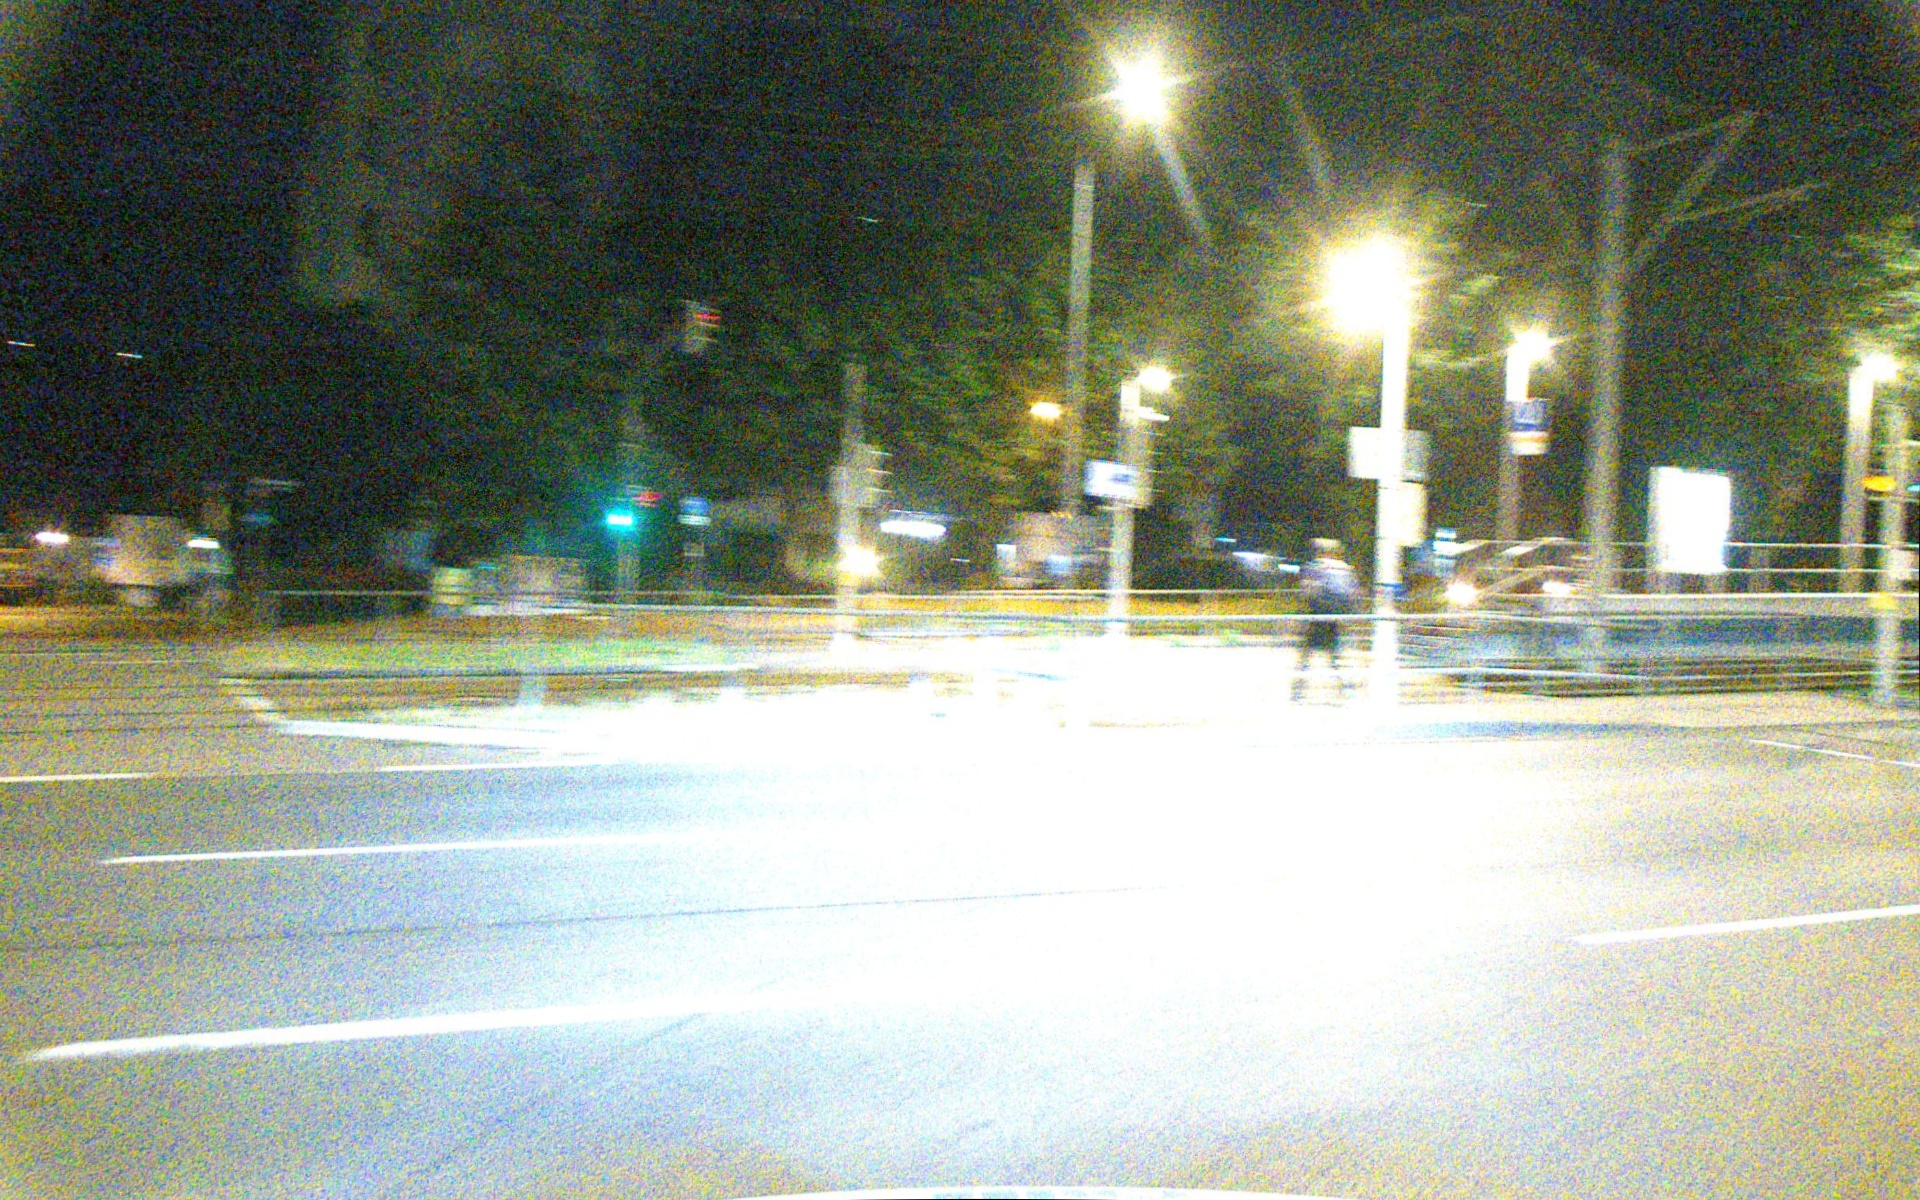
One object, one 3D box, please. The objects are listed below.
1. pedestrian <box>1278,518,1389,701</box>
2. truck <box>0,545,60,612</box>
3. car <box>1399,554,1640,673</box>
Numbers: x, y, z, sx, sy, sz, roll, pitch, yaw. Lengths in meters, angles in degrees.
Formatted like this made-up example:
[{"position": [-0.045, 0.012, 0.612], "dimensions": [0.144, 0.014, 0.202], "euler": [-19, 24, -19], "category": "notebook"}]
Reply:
[{"position": [3.749, 0.070, 16.625], "dimensions": [0.745, 1.774, 0.827], "euler": [-2, 3, -25], "category": "pedestrian"}, {"position": [-69.955, -1.604, 120.435], "dimensions": [4.800, 4.626, 12.465], "euler": [1, 0, -43], "category": "truck"}, {"position": [10.537, 0.218, 31.196], "dimensions": [3.928, 2.049, 1.988], "euler": [-2, 1, -20], "category": "car"}]
